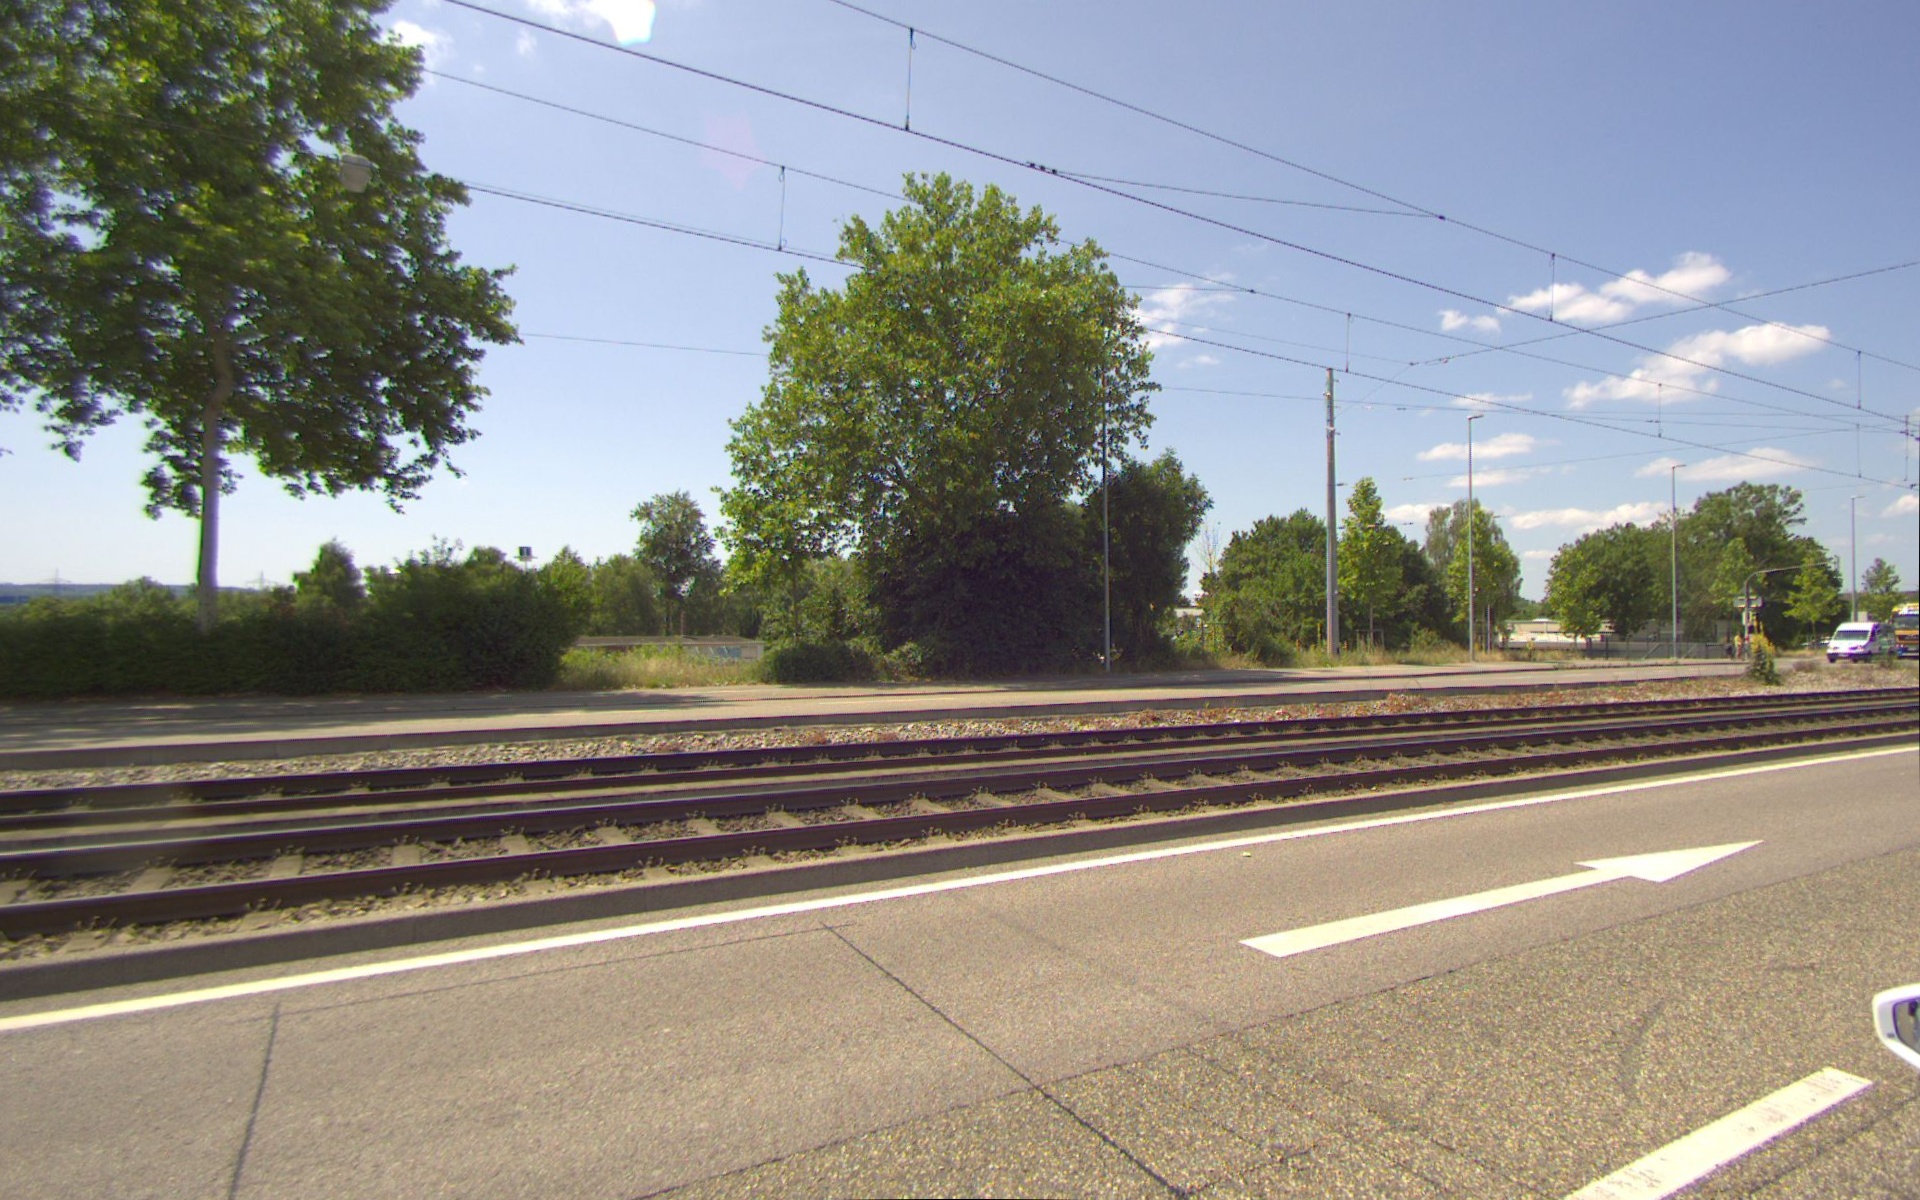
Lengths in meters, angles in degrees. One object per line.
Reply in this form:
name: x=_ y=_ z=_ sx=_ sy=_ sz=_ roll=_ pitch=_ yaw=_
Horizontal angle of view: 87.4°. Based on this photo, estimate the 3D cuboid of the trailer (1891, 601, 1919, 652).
trailer: x=74.276 y=2.037 z=74.927 sx=15.693 sy=3.565 sz=2.753 roll=1 pitch=0 yaw=-31

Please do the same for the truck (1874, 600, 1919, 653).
truck: x=67.743 y=1.906 z=71.051 sx=6.364 sy=3.616 sz=2.754 roll=1 pitch=0 yaw=-30

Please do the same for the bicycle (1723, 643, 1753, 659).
bicycle: x=51.138 y=3.348 z=66.029 sx=0.481 sy=1.000 sz=1.482 roll=1 pitch=0 yaw=-33

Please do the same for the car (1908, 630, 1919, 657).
car: x=61.930 y=2.750 z=63.424 sx=4.408 sy=1.692 sz=1.813 roll=1 pitch=0 yaw=-30

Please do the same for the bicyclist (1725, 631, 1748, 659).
bicyclist: x=51.103 y=2.945 z=66.123 sx=0.337 sy=1.798 sz=1.112 roll=1 pitch=0 yaw=-34

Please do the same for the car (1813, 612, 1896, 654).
car: x=57.867 y=2.133 z=64.947 sx=6.163 sy=2.622 sz=2.232 roll=1 pitch=-3 yaw=-31
